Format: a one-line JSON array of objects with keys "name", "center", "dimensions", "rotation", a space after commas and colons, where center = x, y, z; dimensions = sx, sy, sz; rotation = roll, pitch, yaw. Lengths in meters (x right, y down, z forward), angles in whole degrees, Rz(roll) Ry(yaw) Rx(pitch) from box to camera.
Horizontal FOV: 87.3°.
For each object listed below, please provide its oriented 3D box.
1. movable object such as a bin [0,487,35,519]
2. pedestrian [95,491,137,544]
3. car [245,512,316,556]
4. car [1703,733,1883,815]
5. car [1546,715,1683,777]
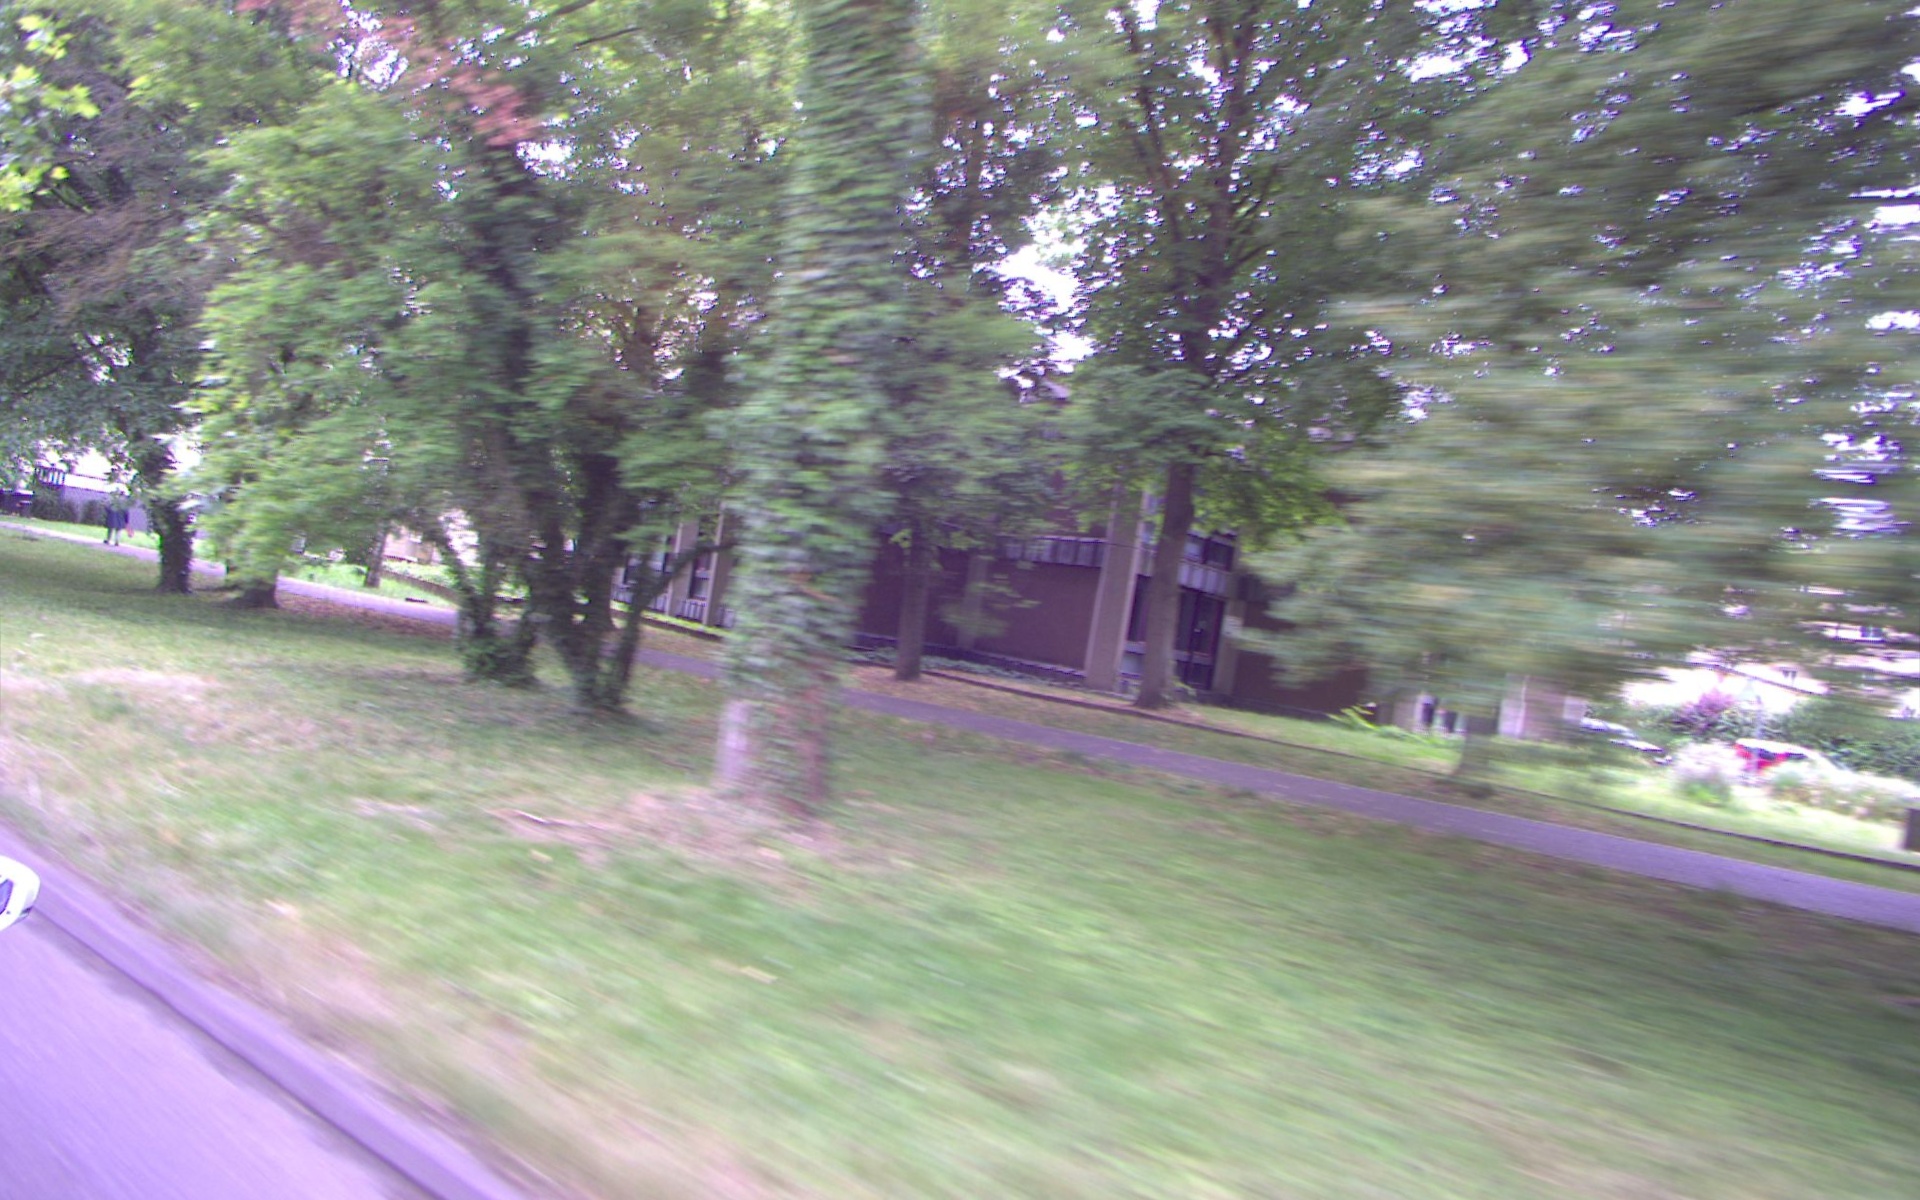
[{"name": "movable object such as a bin", "center": [-51.830, -5.330, 55.050], "dimensions": [1.292, 1.519, 1.329], "rotation": [8, 0, 31]}, {"name": "pedestrian", "center": [-29.410, -2.873, 35.054], "dimensions": [0.801, 1.707, 0.769], "rotation": [8, 0, 33]}, {"name": "car", "center": [-37.804, -3.688, 55.917], "dimensions": [4.898, 1.865, 2.083], "rotation": [9, 0, 42]}, {"name": "car", "center": [26.364, 5.468, 32.024], "dimensions": [1.774, 1.693, 3.988], "rotation": [9, -2, -16]}, {"name": "car", "center": [24.483, 5.437, 37.814], "dimensions": [1.774, 1.527, 3.988], "rotation": [9, -2, -16]}]
